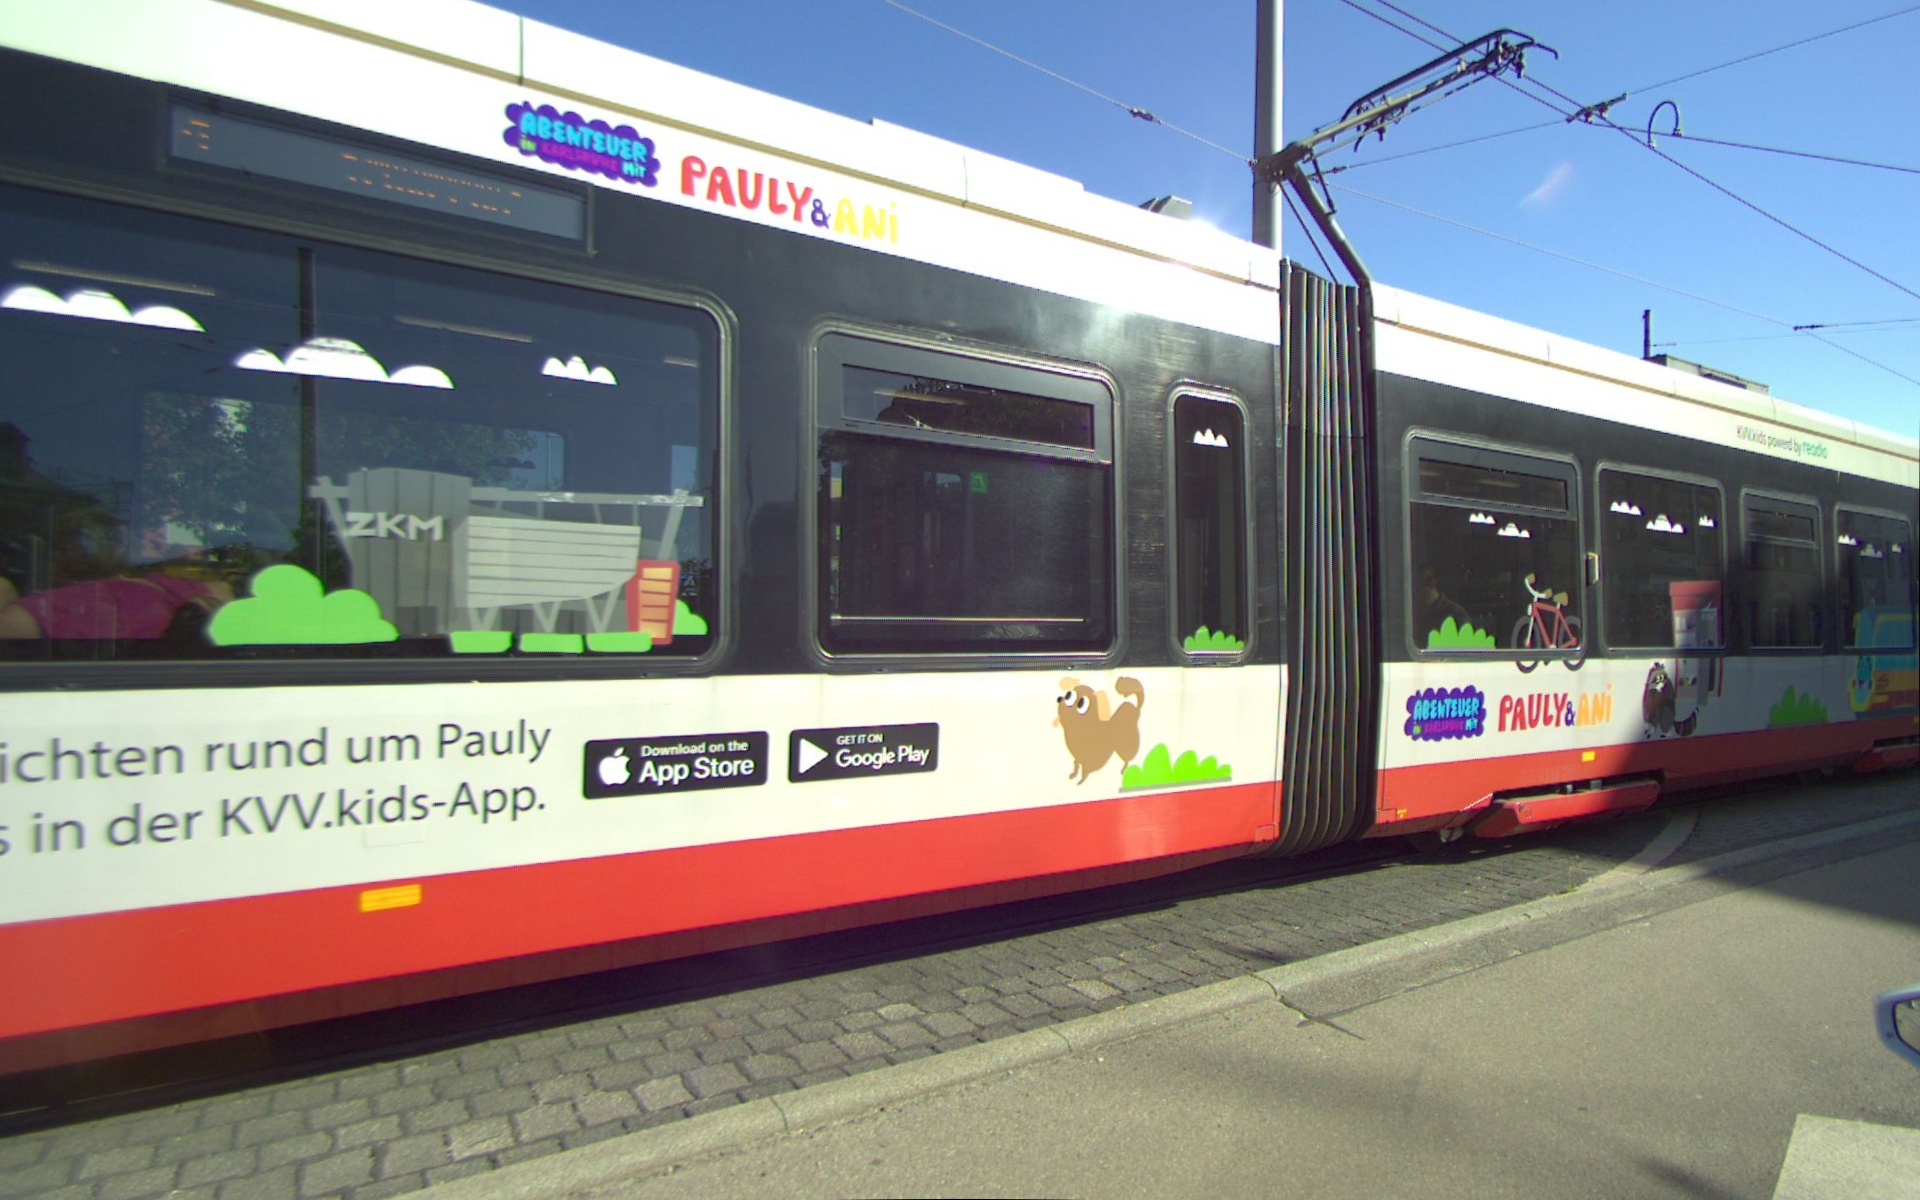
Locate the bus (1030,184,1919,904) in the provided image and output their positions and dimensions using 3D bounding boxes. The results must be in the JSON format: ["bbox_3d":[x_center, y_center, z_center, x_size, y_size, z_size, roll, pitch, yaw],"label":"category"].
[{"bbox_3d":[5.787,-0.167,9.076,10.605,3.637,2.826,2,0,-32],"label":"bus"}]

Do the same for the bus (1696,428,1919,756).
[{"bbox_3d":[15.189,0.033,14.452,11.128,3.637,2.830,2,0,-28],"label":"bus"}]

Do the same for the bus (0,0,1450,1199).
[{"bbox_3d":[-3.780,-0.452,3.021,13.346,3.637,2.825,2,0,-32],"label":"bus"}]
